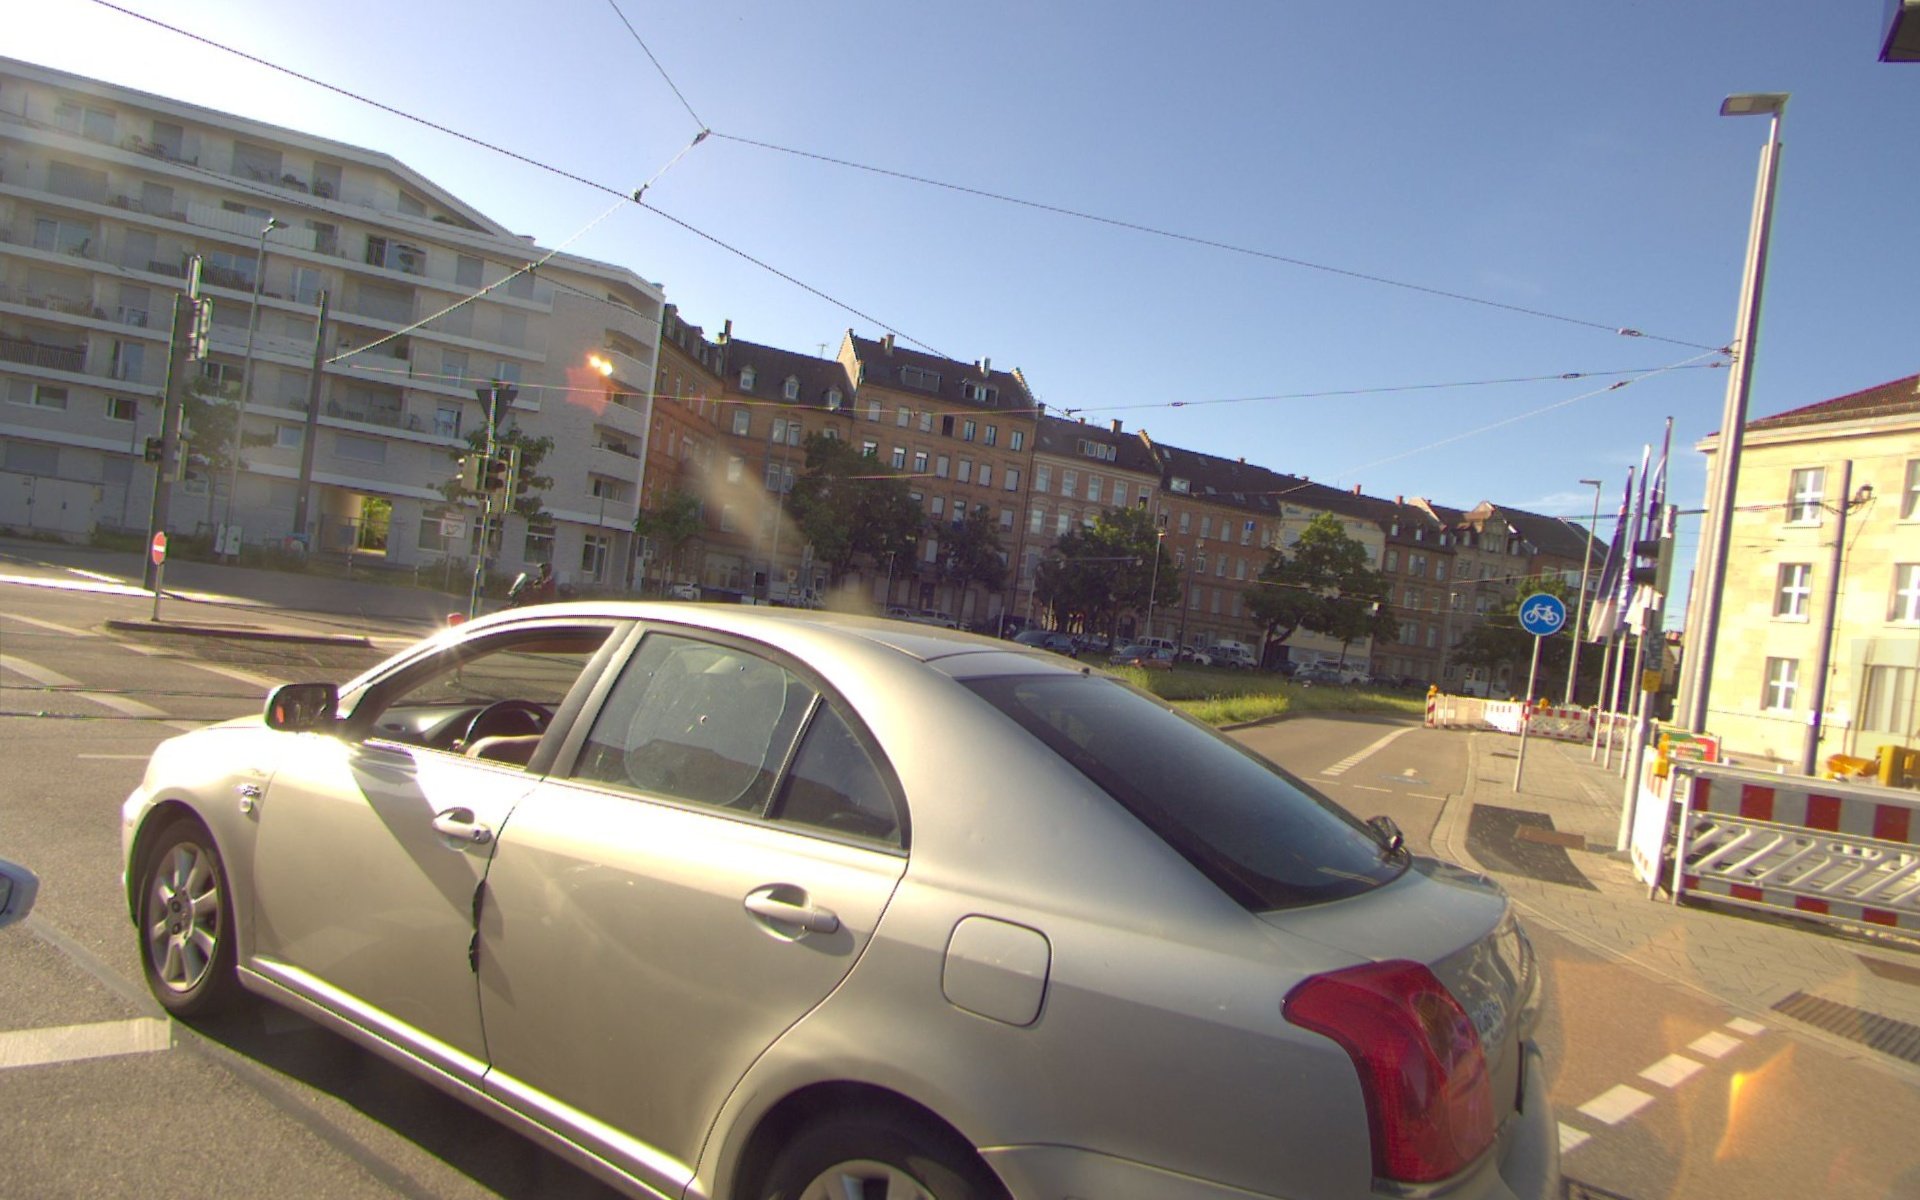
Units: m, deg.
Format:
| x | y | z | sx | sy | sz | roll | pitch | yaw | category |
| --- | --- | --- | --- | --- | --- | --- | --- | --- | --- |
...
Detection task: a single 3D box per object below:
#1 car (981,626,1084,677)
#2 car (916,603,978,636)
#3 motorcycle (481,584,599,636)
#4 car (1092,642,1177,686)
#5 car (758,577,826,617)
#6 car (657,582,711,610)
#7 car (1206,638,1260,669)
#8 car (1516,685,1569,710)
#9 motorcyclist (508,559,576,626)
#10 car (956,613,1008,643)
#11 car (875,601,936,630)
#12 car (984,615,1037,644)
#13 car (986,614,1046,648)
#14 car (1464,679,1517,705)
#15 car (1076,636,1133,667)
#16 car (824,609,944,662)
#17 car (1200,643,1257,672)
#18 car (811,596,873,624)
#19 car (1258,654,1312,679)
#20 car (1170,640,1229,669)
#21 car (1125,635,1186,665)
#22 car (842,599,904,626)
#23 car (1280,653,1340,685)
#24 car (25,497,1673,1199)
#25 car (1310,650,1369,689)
| x | y | z | sx | sy | sz | roll | pitch | yaw | category |
| --- | --- | --- | --- | --- | --- | --- | --- | --- | --- |
| 3.025 | 2.153 | 41.343 | 1.969 | 1.637 | 4.528 | 7 | -1 | 37 | car |
| -0.930 | 1.367 | 71.315 | 3.946 | 1.794 | 1.990 | 6 | 0 | 43 | car |
| -10.564 | 0.265 | 25.394 | 1.152 | 1.012 | 2.457 | 7 | -1 | 31 | motorcycle |
| 8.550 | 3.137 | 49.123 | 1.974 | 1.637 | 4.078 | 7 | -1 | 45 | car |
| -12.642 | -0.225 | 75.558 | 4.537 | 2.338 | 1.992 | 8 | 0 | -19 | car |
| -17.752 | -0.242 | 64.819 | 1.962 | 1.504 | 4.001 | 6 | 0 | 4 | car |
| 24.807 | 4.841 | 91.392 | 4.125 | 2.217 | 1.993 | 7 | 0 | -16 | car |
| 54.444 | 9.112 | 94.000 | 3.940 | 1.794 | 1.993 | 6 | 0 | 37 | car |
| -10.530 | -0.195 | 25.348 | 1.152 | 1.499 | 0.926 | 7 | 0 | 31 | motorcyclist |
| 1.637 | 2.081 | 75.241 | 1.978 | 1.794 | 3.969 | 6 | 0 | -30 | car |
| -3.820 | 1.069 | 70.021 | 3.946 | 1.504 | 1.990 | 6 | 0 | 43 | car |
| 3.820 | 2.213 | 76.264 | 1.979 | 1.794 | 3.968 | 6 | 0 | -31 | car |
| 4.620 | 2.549 | 82.942 | 4.355 | 2.216 | 1.989 | 7 | 0 | -24 | car |
| 48.416 | 8.383 | 91.844 | 3.940 | 1.794 | 1.993 | 6 | 0 | 37 | car |
| 10.716 | 3.779 | 74.636 | 3.923 | 1.798 | 2.001 | 6 | 0 | 11 | car |
| -2.411 | 1.208 | 32.957 | 1.741 | 1.416 | 4.249 | 4 | -3 | 30 | car |
| 21.584 | 4.597 | 80.886 | 3.935 | 1.794 | 1.995 | 6 | 0 | 33 | car |
| -7.942 | 0.657 | 67.474 | 3.946 | 1.371 | 1.990 | 6 | 0 | 43 | car |
| 30.105 | 6.152 | 93.139 | 4.351 | 1.743 | 1.990 | 7 | 0 | -21 | car |
| 18.737 | 4.250 | 78.751 | 3.935 | 1.794 | 1.995 | 6 | 0 | 33 | car |
| 15.005 | 3.806 | 77.240 | 3.935 | 1.794 | 1.995 | 6 | 0 | 33 | car |
| -5.943 | 0.838 | 68.844 | 3.946 | 1.371 | 1.990 | 6 | 0 | 43 | car |
| 28.928 | 5.708 | 83.180 | 3.942 | 1.795 | 1.991 | 13 | 4 | 41 | car |
| -0.779 | 0.696 | 3.087 | 4.550 | 1.499 | 1.749 | 7 | -1 | 31 | car |
| 32.125 | 5.851 | 85.194 | 3.941 | 2.439 | 1.991 | 13 | 5 | 41 | car |
